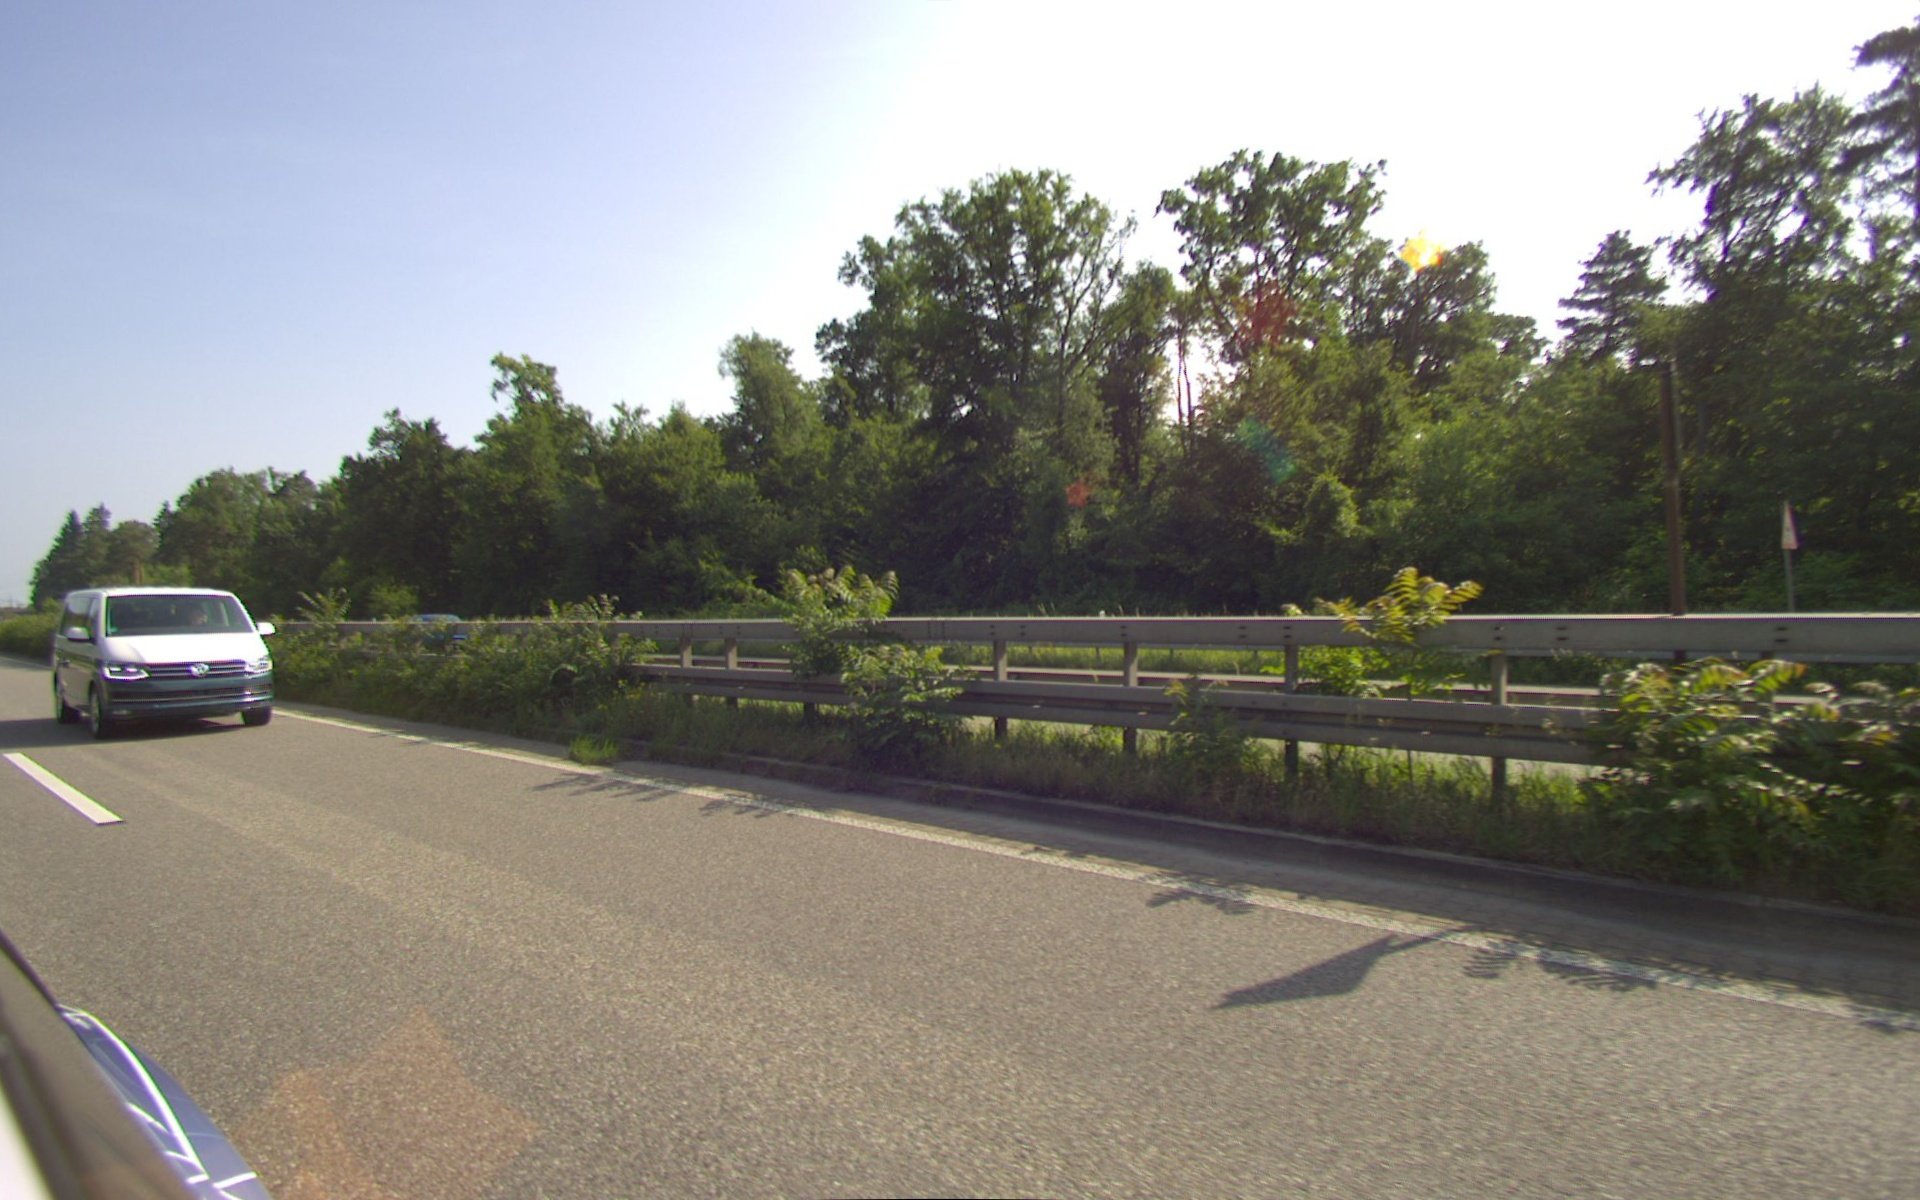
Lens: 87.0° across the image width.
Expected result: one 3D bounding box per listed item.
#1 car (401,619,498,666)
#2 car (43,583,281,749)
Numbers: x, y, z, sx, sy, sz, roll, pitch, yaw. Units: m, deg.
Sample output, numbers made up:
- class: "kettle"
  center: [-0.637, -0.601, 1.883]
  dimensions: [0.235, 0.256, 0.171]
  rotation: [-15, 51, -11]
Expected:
- class: "car"
  center: [-17.741, 1.445, 35.094]
  dimensions: [4.210, 1.483, 1.607]
  rotation: [-1, -1, 43]
- class: "car"
  center: [-11.345, 0.811, 14.253]
  dimensions: [4.706, 1.960, 1.887]
  rotation: [-1, -1, 42]
